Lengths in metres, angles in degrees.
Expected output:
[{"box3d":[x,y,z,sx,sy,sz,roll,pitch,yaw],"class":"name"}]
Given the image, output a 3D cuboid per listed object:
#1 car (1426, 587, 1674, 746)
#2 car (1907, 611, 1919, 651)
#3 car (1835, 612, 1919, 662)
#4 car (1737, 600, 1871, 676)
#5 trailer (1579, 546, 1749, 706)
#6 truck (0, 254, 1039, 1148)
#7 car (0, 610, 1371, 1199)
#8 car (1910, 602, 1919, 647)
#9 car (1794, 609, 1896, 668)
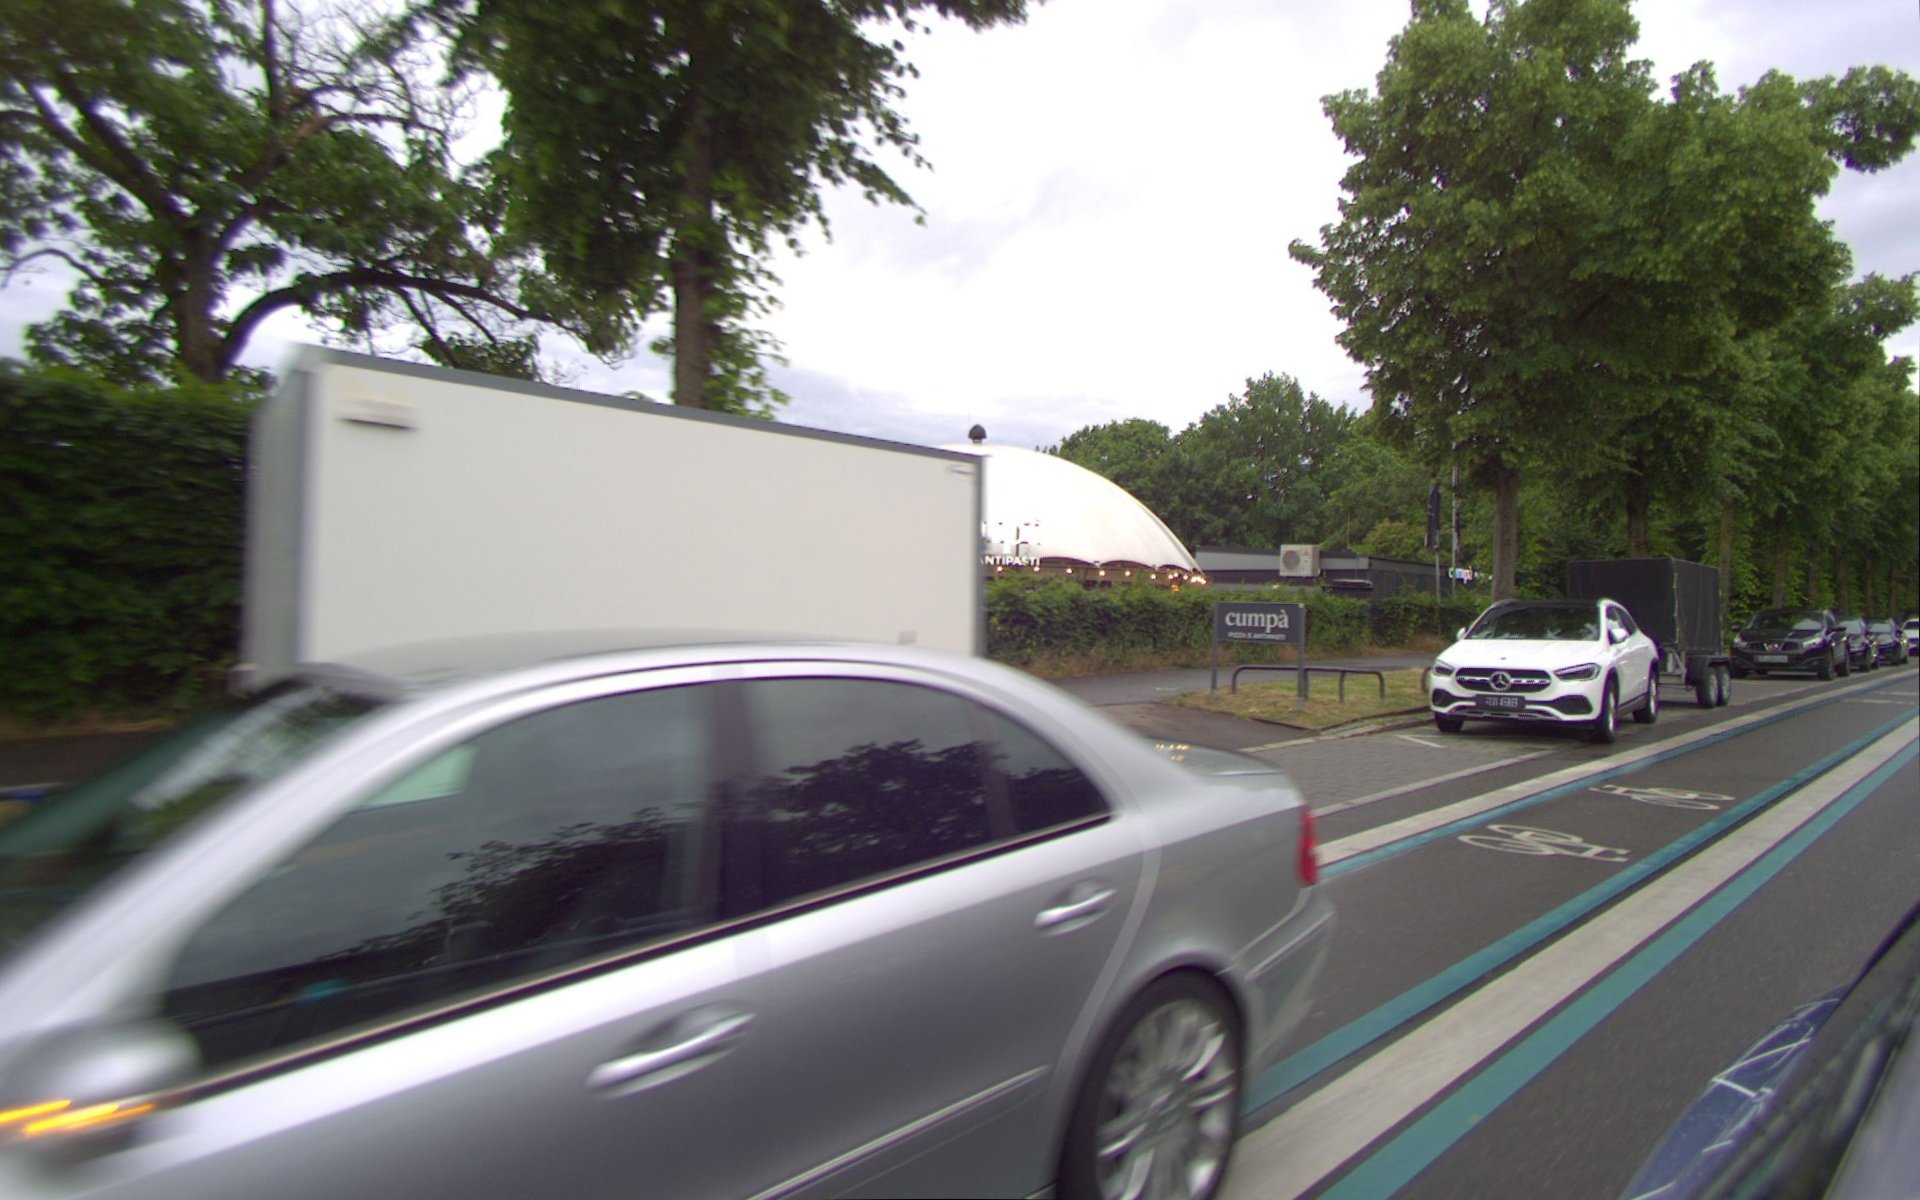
[{"box3d":[7.389,0.684,12.473,1.755,1.605,4.345,0,-1,43],"class":"car"},{"box3d":[38.632,1.207,39.663,4.217,1.505,1.822,0,-1,-41],"class":"car"},{"box3d":[28.047,1.078,30.804,4.014,1.400,1.687,0,-1,-42],"class":"car"},{"box3d":[19.491,0.843,23.315,4.264,1.592,1.692,0,-3,-41],"class":"car"},{"box3d":[11.257,0.384,16.114,3.501,2.298,1.349,0,-1,-40],"class":"trailer"},{"box3d":[-1.620,0.270,4.631,3.930,2.363,1.721,0,-1,-41],"class":"truck"},{"box3d":[-1.068,0.735,2.106,4.510,1.416,1.724,1,-1,-41],"class":"car"},{"box3d":[42.470,1.063,43.571,4.535,1.900,1.845,1,-1,-41],"class":"car"},{"box3d":[23.582,0.964,26.930,3.933,1.444,1.691,0,-1,-44],"class":"car"}]
